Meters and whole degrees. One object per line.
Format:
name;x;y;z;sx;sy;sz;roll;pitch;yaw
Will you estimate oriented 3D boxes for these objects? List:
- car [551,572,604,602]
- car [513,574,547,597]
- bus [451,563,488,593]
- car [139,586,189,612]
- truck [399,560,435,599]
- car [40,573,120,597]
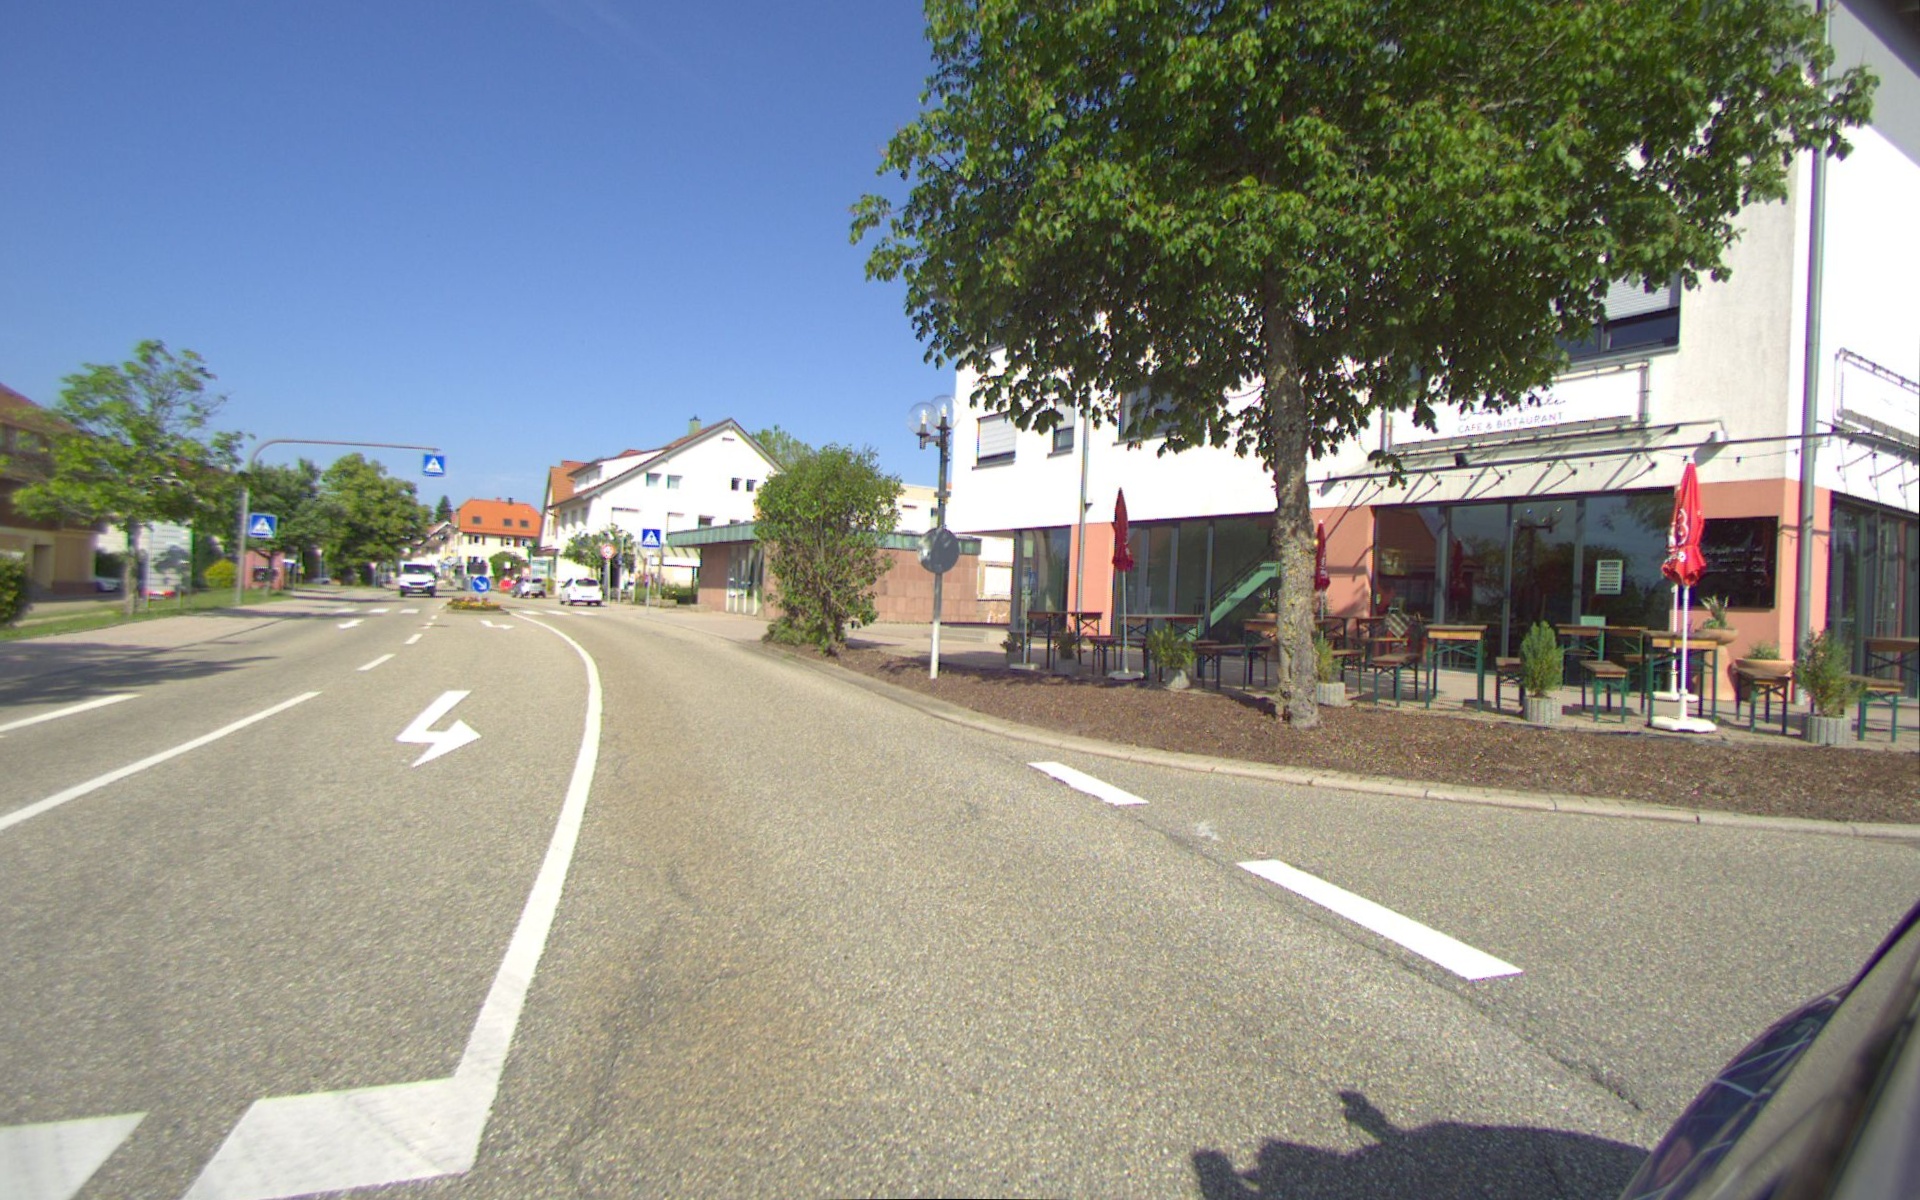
car;-19.915;-0.689;52.627;1.742;1.486;3.715;-3;2;-34
car;-29.122;-1.028;68.507;1.741;1.451;3.719;-2;2;-28
bus;-55.895;-2.416;115.018;2.663;3.052;15.236;0;0;-30
car;-49.605;-0.086;63.095;1.740;1.451;3.719;-2;2;-27
truck;-35.124;-1.392;65.494;1.959;2.370;6.505;1;2;-28
car;-59.063;-1.039;67.981;3.638;1.451;1.779;-3;2;-26
